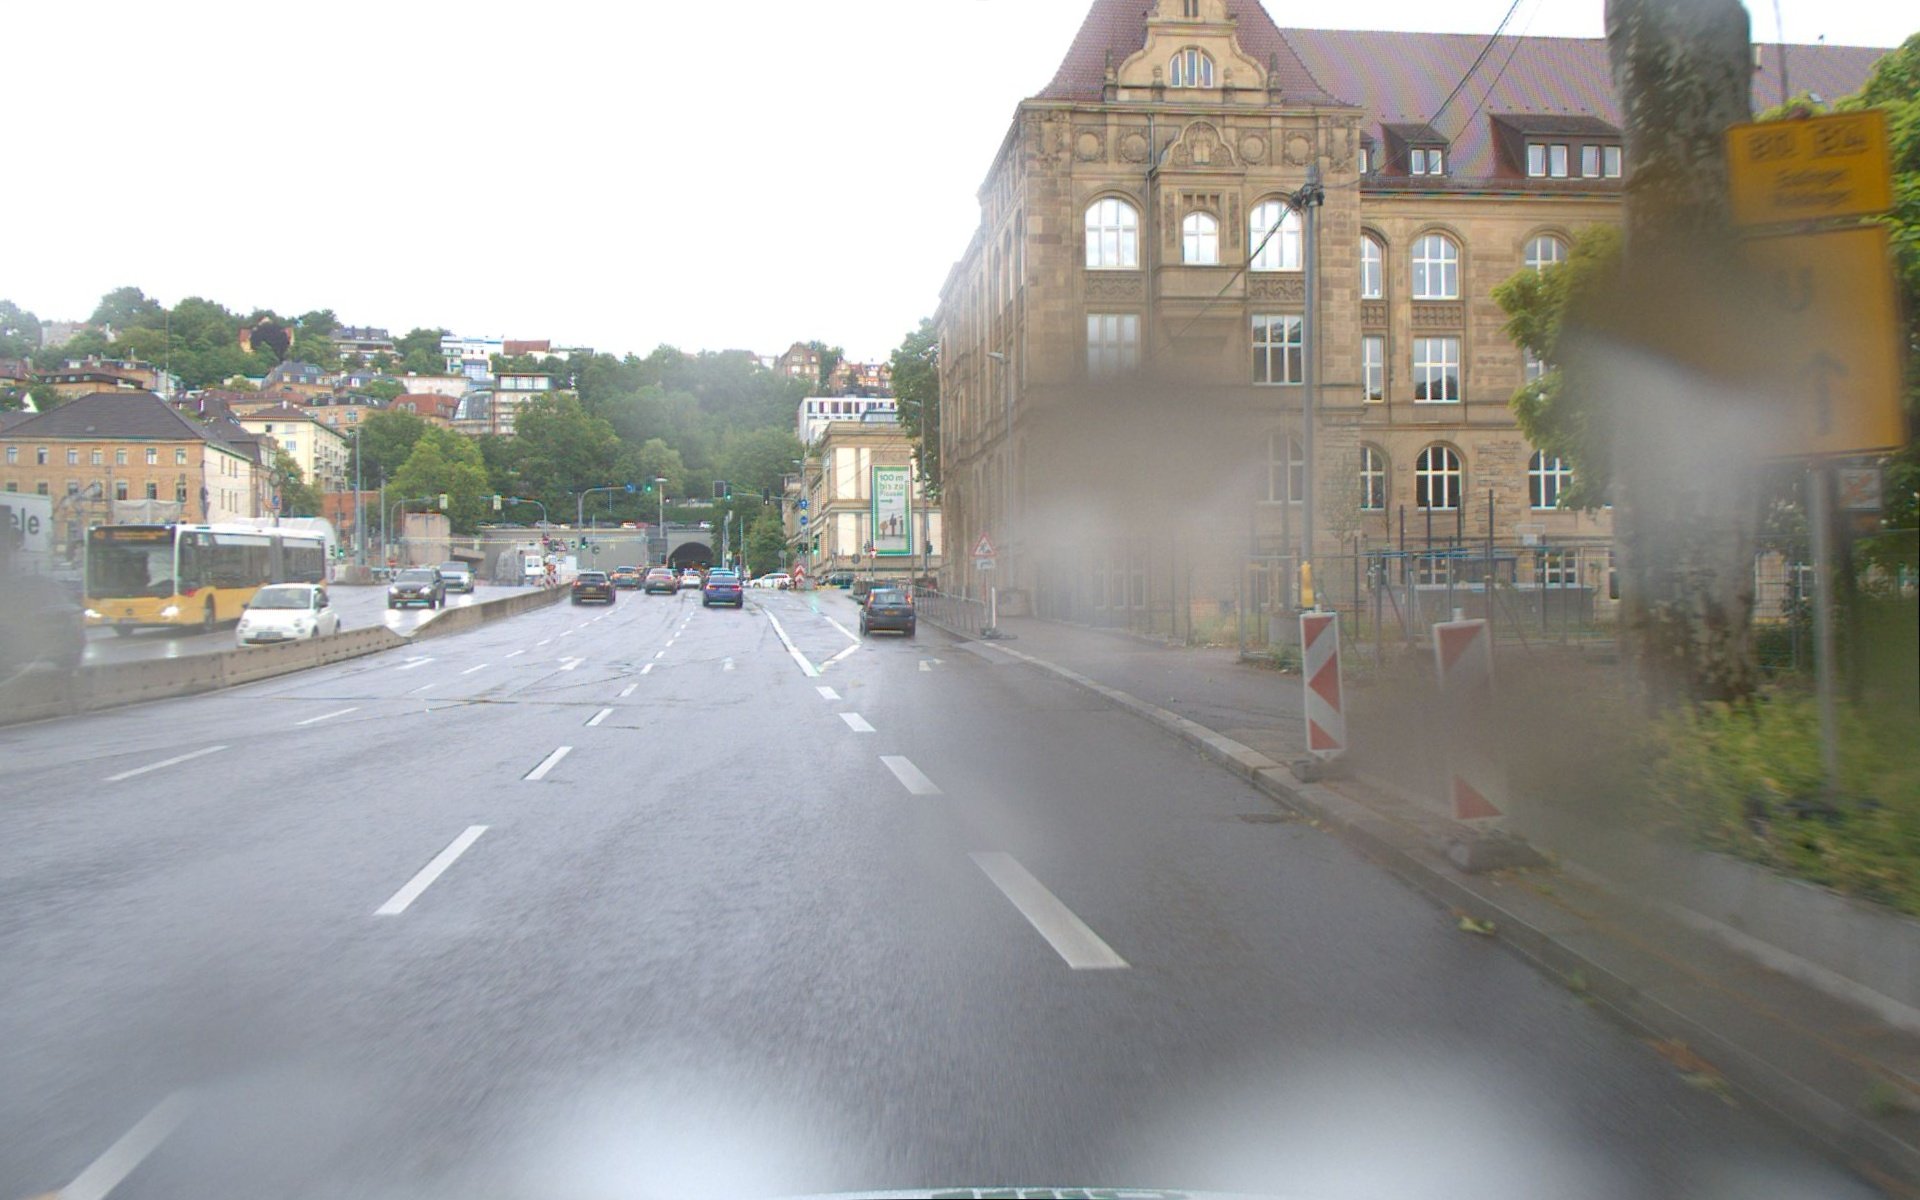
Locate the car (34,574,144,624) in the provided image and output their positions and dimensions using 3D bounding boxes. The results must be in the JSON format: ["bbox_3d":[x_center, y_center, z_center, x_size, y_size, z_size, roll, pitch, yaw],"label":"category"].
[{"bbox_3d":[-30.270,-0.066,57.604,1.955,1.650,3.996,-1,1,-5],"label":"car"}]

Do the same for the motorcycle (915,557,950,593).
[{"bbox_3d":[-1.616,-1.472,96.301,1.760,2.048,3.809,-1,1,-5],"label":"motorcycle"}]

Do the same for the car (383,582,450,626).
[{"bbox_3d":[-22.757,0.191,69.402,2.002,1.691,4.919,-1,-1,-11],"label":"car"}]

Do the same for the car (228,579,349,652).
[{"bbox_3d":[-15.040,0.363,37.218,1.677,1.515,3.444,-1,-1,-8],"label":"car"}]

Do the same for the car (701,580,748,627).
[{"bbox_3d":[-11.080,0.193,77.657,2.066,2.086,3.991,-1,-1,-9],"label":"car"}]

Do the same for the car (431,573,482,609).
[{"bbox_3d":[-27.386,-0.478,90.100,1.957,1.786,5.285,-1,-1,-10],"label":"car"}]

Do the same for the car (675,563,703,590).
[{"bbox_3d":[-21.775,-1.886,132.666,1.959,2.049,3.987,-1,0,-12],"label":"car"}]

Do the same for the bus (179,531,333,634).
[{"bbox_3d":[-23.963,-0.534,56.800,2.653,3.206,9.130,-1,0,-9],"label":"bus"}]

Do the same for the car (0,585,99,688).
[{"bbox_3d":[-16.769,0.600,28.402,2.043,1.659,4.842,-1,0,-9],"label":"car"}]

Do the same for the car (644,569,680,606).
[{"bbox_3d":[-17.690,-0.730,98.145,2.014,2.049,3.990,-1,-1,-10],"label":"car"}]

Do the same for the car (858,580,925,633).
[{"bbox_3d":[-2.219,0.225,52.641,1.778,1.553,3.993,-2,-1,-7],"label":"car"}]

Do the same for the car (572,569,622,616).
[{"bbox_3d":[-16.868,-0.323,76.941,1.979,2.049,3.991,-1,-1,-9],"label":"car"}]

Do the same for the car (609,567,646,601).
[{"bbox_3d":[-21.503,-1.004,107.097,1.955,2.049,3.994,-1,-1,-6],"label":"car"}]

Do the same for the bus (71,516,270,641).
[{"bbox_3d":[-22.587,-0.568,47.913,2.754,3.240,8.788,-1,0,-9],"label":"bus"}]
